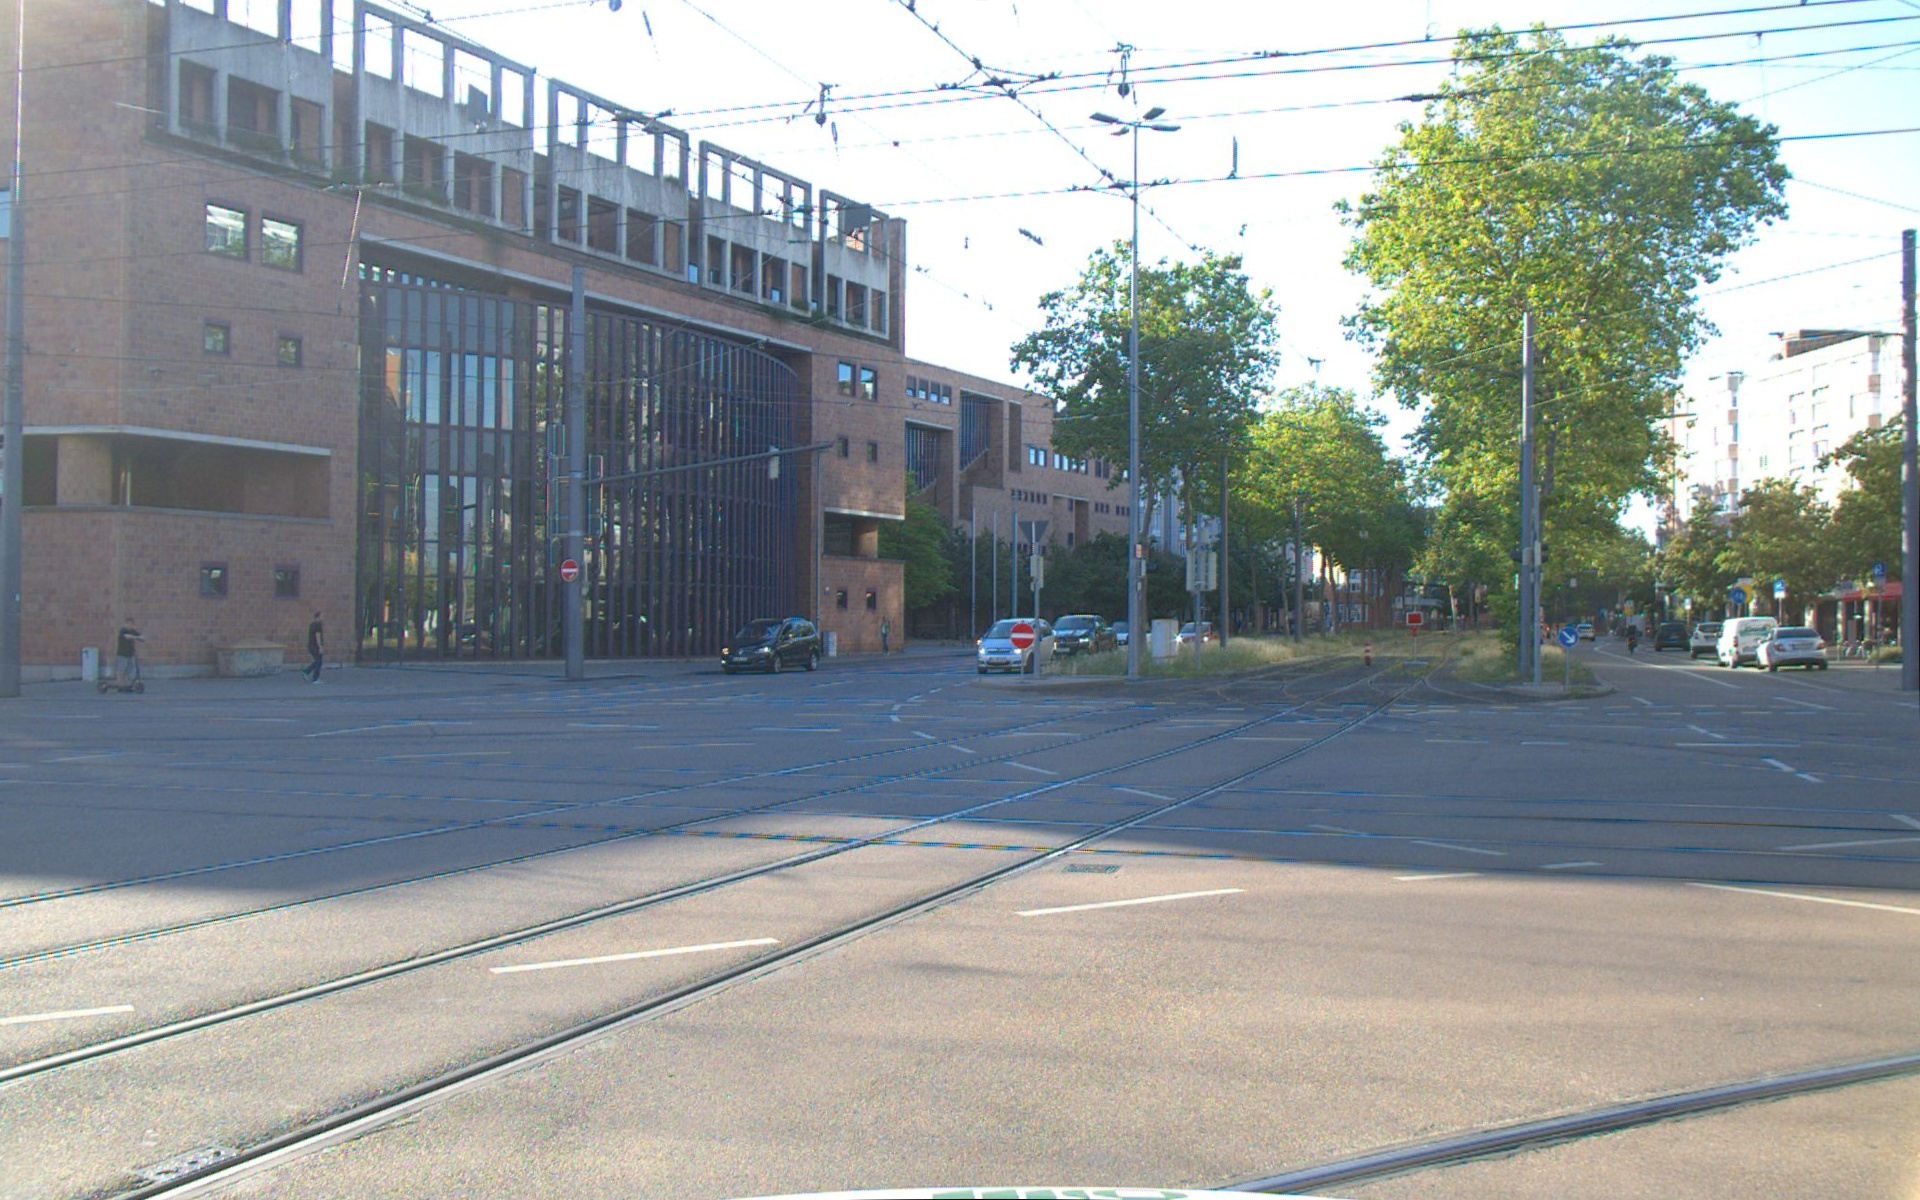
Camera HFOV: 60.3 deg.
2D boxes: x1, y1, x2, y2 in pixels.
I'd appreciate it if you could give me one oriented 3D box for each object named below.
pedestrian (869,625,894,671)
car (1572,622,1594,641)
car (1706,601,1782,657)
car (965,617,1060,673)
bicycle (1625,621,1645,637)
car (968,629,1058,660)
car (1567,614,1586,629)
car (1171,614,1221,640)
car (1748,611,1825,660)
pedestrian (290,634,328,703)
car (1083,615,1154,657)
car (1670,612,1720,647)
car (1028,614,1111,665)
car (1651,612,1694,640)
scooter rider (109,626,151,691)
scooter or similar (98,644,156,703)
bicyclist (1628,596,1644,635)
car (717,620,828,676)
[{"bbox_3d":[-3.498,2.153,73.976,0.750,2.049,0.887,1,-1,-38],"label":"pedestrian"},{"bbox_3d":[55.792,2.806,148.042,1.815,1.579,4.325,-1,-1,21],"label":"car"},{"bbox_3d":[29.784,1.093,62.961,1.951,2.049,4.387,-1,-1,17],"label":"car"},{"bbox_3d":[1.657,1.340,50.425,1.694,1.625,4.327,-1,-1,19],"label":"car"},{"bbox_3d":[35.757,1.538,87.601,0.802,0.788,1.728,-1,-1,27],"label":"bicycle"},{"bbox_3d":[2.516,2.096,78.088,3.957,1.400,1.897,0,-1,-37],"label":"car"},{"bbox_3d":[66.017,2.330,177.141,1.815,1.579,4.325,-1,-1,21],"label":"car"},{"bbox_3d":[11.540,1.304,81.080,1.804,1.243,3.999,0,-1,-1],"label":"car"},{"bbox_3d":[28.033,1.192,56.218,1.815,1.579,4.326,-1,-1,20],"label":"car"},{"bbox_3d":[-16.830,1.761,42.744,0.813,1.746,0.657,0,-1,-31],"label":"pedestrian"},{"bbox_3d":[6.299,1.405,65.331,1.815,1.579,4.327,-1,-1,19],"label":"car"},{"bbox_3d":[34.406,1.350,77.541,1.815,1.579,4.326,-1,-1,20],"label":"car"},{"bbox_3d":[3.847,1.350,57.371,1.815,1.679,4.327,-1,-1,19],"label":"car"},{"bbox_3d":[42.045,1.534,97.702,2.216,1.579,4.324,-1,-1,22],"label":"car"},{"bbox_3d":[-19.167,1.342,38.215,0.704,1.486,0.508,-1,-1,9],"label":"scooter rider"},{"bbox_3d":[-19.254,1.685,38.231,1.105,1.341,0.529,-1,-1,8],"label":"scooter or similar"},{"bbox_3d":[35.863,0.806,87.780,0.737,2.049,0.743,0,-1,27],"label":"bicyclist"},{"bbox_3d":[-5.989,1.525,53.383,1.795,1.683,4.502,-2,-1,19],"label":"car"}]
